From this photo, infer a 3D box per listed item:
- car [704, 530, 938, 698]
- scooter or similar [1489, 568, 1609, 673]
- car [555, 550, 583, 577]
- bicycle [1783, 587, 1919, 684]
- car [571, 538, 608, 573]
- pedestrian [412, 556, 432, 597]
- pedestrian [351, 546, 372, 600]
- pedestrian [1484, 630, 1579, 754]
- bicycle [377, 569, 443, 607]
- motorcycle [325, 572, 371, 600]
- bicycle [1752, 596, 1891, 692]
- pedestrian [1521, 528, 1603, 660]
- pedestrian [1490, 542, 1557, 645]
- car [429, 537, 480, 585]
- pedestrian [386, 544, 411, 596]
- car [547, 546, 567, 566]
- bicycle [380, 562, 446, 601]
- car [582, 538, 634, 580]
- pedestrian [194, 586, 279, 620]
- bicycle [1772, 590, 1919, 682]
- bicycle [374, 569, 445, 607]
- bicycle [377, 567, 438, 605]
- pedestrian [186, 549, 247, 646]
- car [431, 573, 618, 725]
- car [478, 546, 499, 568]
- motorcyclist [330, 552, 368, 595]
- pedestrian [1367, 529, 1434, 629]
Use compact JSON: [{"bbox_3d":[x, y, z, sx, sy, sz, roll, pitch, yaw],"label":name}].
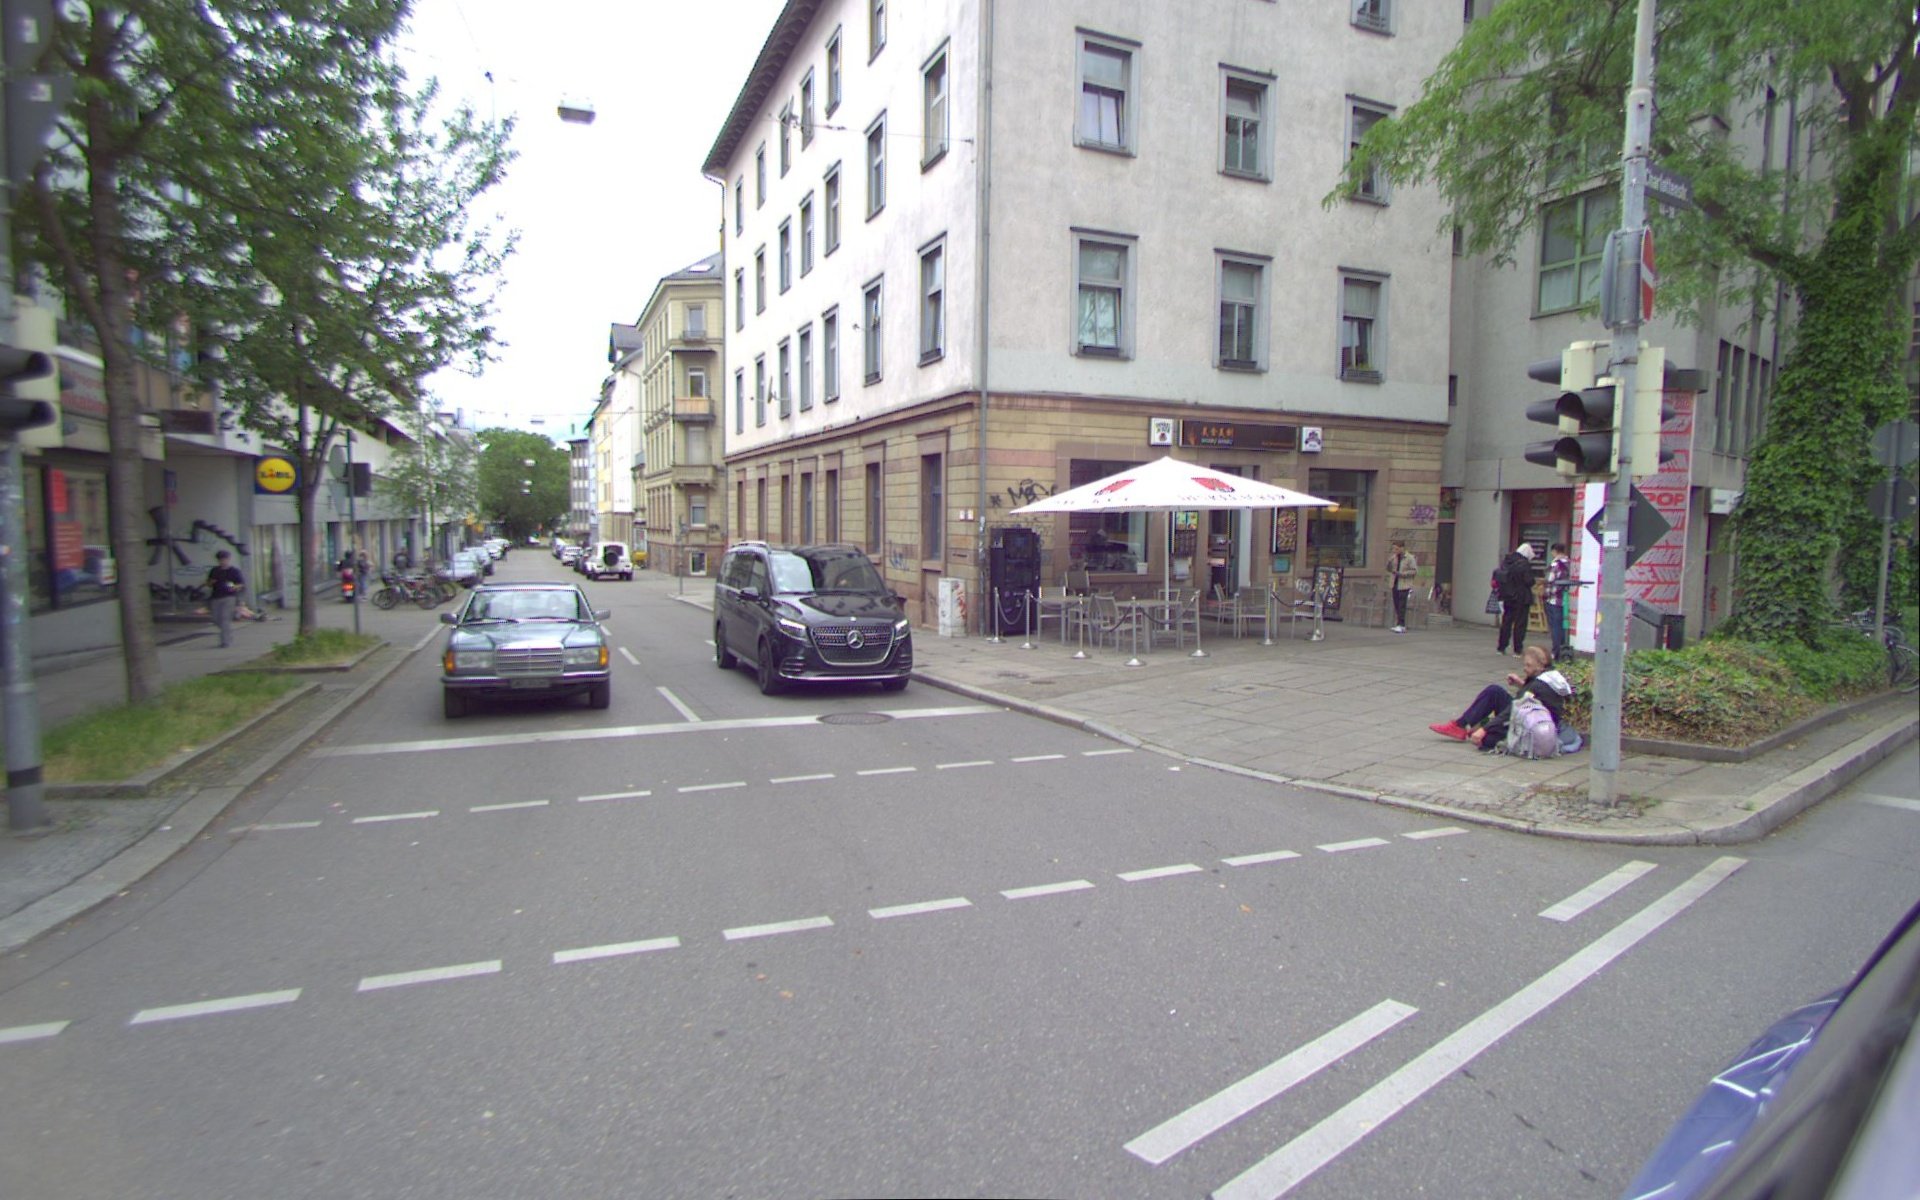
[{"bbox_3d":[-2.201,0.100,14.370,1.958,1.931,5.163,1,1,-23],"label":"car"},{"bbox_3d":[7.862,0.243,13.580,0.618,1.269,1.393,2,4,-5],"label":"scooter or similar"},{"bbox_3d":[-31.613,-2.945,81.855,1.958,2.038,4.009,1,1,-21],"label":"car"},{"bbox_3d":[13.044,0.494,14.574,0.533,1.236,1.742,1,4,-44],"label":"bicycle"},{"bbox_3d":[-22.940,-2.751,62.612,1.958,2.038,4.010,1,2,-22],"label":"car"},{"bbox_3d":[-22.848,-1.007,43.005,0.640,1.731,0.668,1,1,-20],"label":"pedestrian"},{"bbox_3d":[-22.789,-1.028,38.522,0.588,2.038,0.573,1,1,-24],"label":"pedestrian"},{"bbox_3d":[4.694,0.735,8.322,0.572,0.921,0.485,-2,3,-37],"label":"pedestrian"},{"bbox_3d":[-16.068,-0.353,29.611,1.630,1.073,0.560,1,1,-25],"label":"bicycle"},{"bbox_3d":[-19.715,-0.452,32.670,0.804,0.821,2.767,1,2,-22],"label":"motorcycle"},{"bbox_3d":[11.997,0.579,14.120,0.533,1.237,1.421,1,1,-44],"label":"bicycle"},{"bbox_3d":[9.036,-0.101,15.198,0.863,1.913,0.707,1,1,-34],"label":"pedestrian"},{"bbox_3d":[8.663,-0.103,15.570,0.651,1.542,0.625,1,1,-34],"label":"pedestrian"},{"bbox_3d":[-22.792,-1.743,45.747,1.838,2.038,4.009,1,2,-24],"label":"car"},{"bbox_3d":[-22.292,-1.196,40.220,0.759,2.038,0.856,1,1,-24],"label":"pedestrian"},{"bbox_3d":[-44.853,-4.893,112.792,1.958,2.038,4.009,1,1,-21],"label":"car"},{"bbox_3d":[-17.569,-0.593,32.558,1.798,1.223,0.630,1,1,-25],"label":"bicycle"},{"bbox_3d":[-18.449,-2.144,52.942,2.211,2.038,4.009,1,2,-23],"label":"car"},{"bbox_3d":[-17.083,0.074,23.928,1.511,0.736,0.661,2,1,-23],"label":"pedestrian"},{"bbox_3d":[13.393,0.510,15.260,0.533,1.236,1.689,1,3,-44],"label":"bicycle"},{"bbox_3d":[-16.408,-0.369,30.222,1.798,1.075,0.736,1,1,-25],"label":"bicycle"},{"bbox_3d":[-17.177,-0.436,31.515,1.619,1.115,0.523,1,1,-25],"label":"bicycle"},{"bbox_3d":[-13.659,-0.062,18.614,0.640,1.731,0.936,1,1,-20],"label":"pedestrian"},{"bbox_3d":[-5.356,0.422,12.392,1.725,1.373,4.603,-2,3,-25],"label":"car"},{"bbox_3d":[-44.049,-4.019,94.597,1.658,2.038,3.730,1,2,-24],"label":"car"},{"bbox_3d":[-19.699,-0.869,32.634,0.806,1.327,1.364,1,1,-21],"label":"motorcyclist"},{"bbox_3d":[8.490,-0.402,19.527,0.720,1.856,0.905,2,1,-12],"label":"pedestrian"}]
